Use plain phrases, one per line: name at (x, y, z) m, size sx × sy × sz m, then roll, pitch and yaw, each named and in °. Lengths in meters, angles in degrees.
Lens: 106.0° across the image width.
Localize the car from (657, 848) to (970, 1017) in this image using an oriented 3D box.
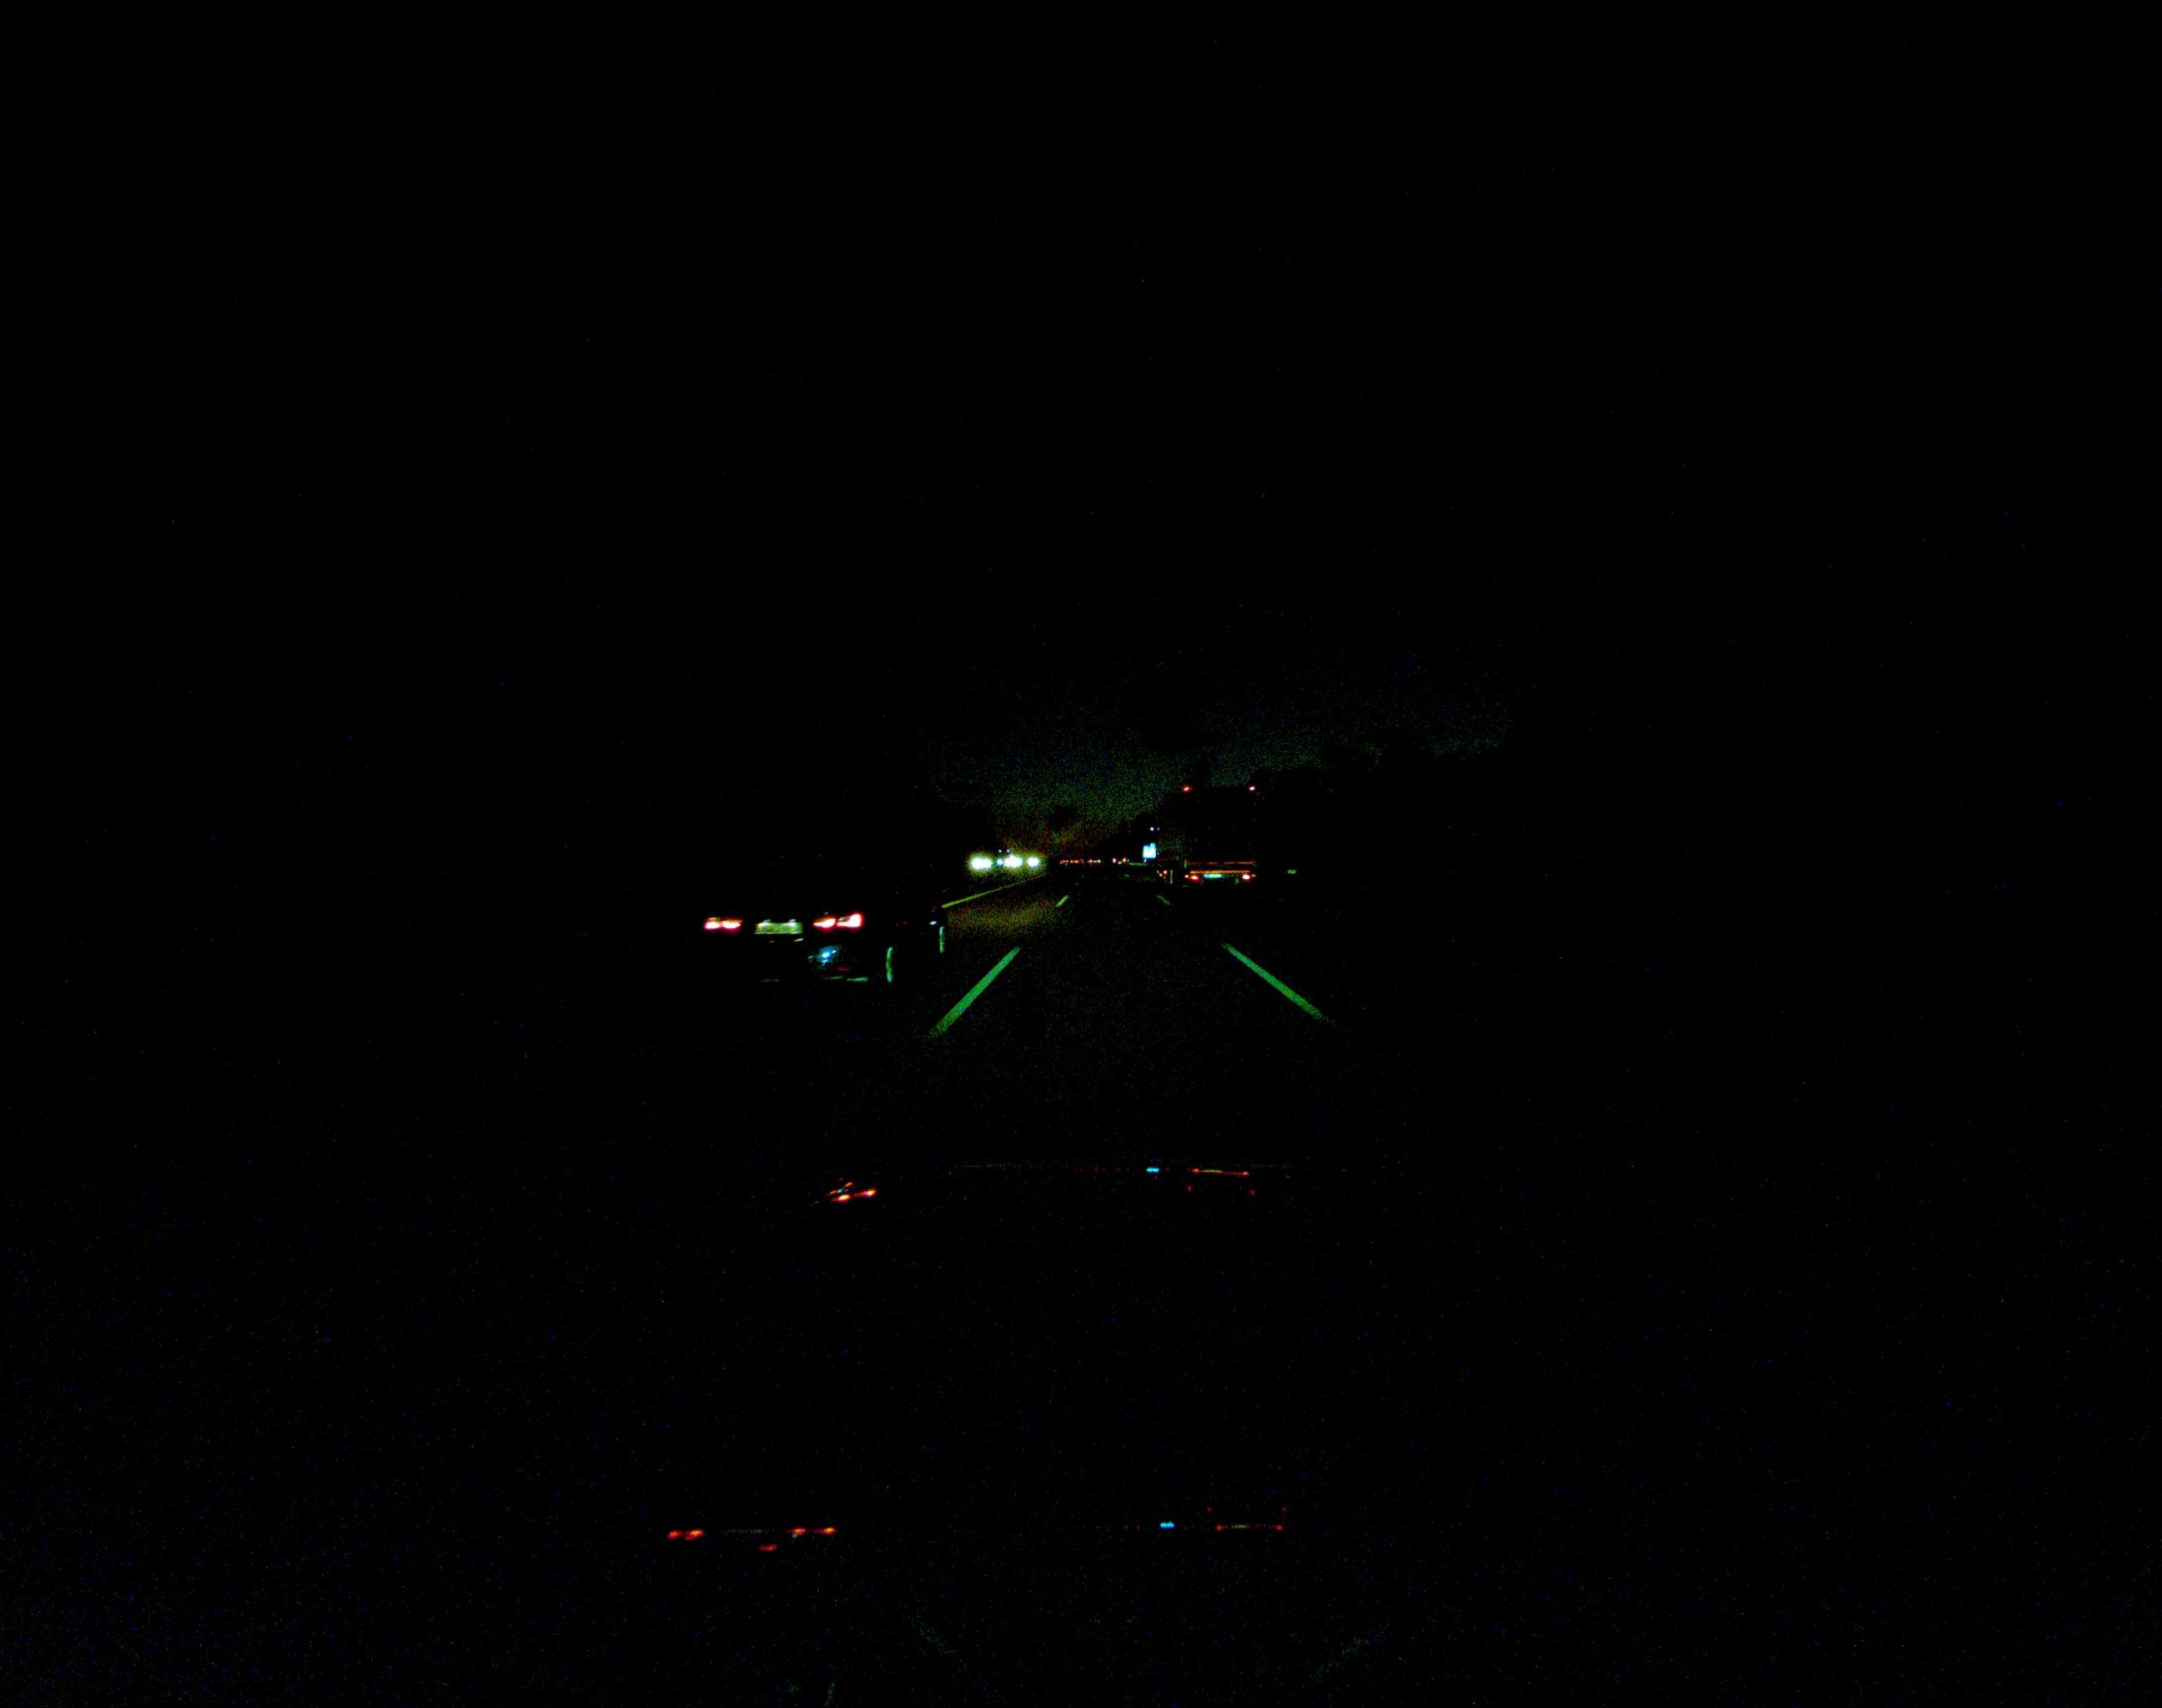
car at (-2.939, 0.731, 10.582) m, size 1.986 × 1.518 × 5.654 m, roll 0°, pitch 1°, yaw 2°

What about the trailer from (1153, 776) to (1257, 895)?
trailer at (5.173, -0.639, 37.582) m, size 2.818 × 4.256 × 17.058 m, roll 0°, pitch 0°, yaw 2°

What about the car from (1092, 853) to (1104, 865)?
car at (2.754, 0.823, 133.521) m, size 1.986 × 1.794 × 4.000 m, roll 0°, pitch -1°, yaw 1°

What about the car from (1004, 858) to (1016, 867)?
car at (-13.623, 1.717, 156.882) m, size 1.739 × 1.662 × 4.001 m, roll 0°, pitch -2°, yaw 2°

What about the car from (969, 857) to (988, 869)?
car at (-14.307, 1.204, 114.039) m, size 1.986 × 1.662 × 4.002 m, roll 0°, pitch 0°, yaw 2°

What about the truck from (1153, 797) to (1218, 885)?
truck at (5.392, -0.627, 43.002) m, size 2.818 × 4.256 × 6.266 m, roll 0°, pitch 0°, yaw 2°

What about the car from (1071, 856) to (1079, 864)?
car at (-1.525, 1.491, 203.517) m, size 1.986 × 1.794 × 4.001 m, roll 0°, pitch -1°, yaw 2°

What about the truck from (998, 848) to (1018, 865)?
truck at (-16.868, 0.508, 188.741) m, size 3.300 × 3.808 × 10.989 m, roll 0°, pitch 0°, yaw 2°

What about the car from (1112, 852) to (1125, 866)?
car at (5.941, 0.869, 129.325) m, size 1.986 × 2.117 × 4.001 m, roll 0°, pitch -1°, yaw 2°
